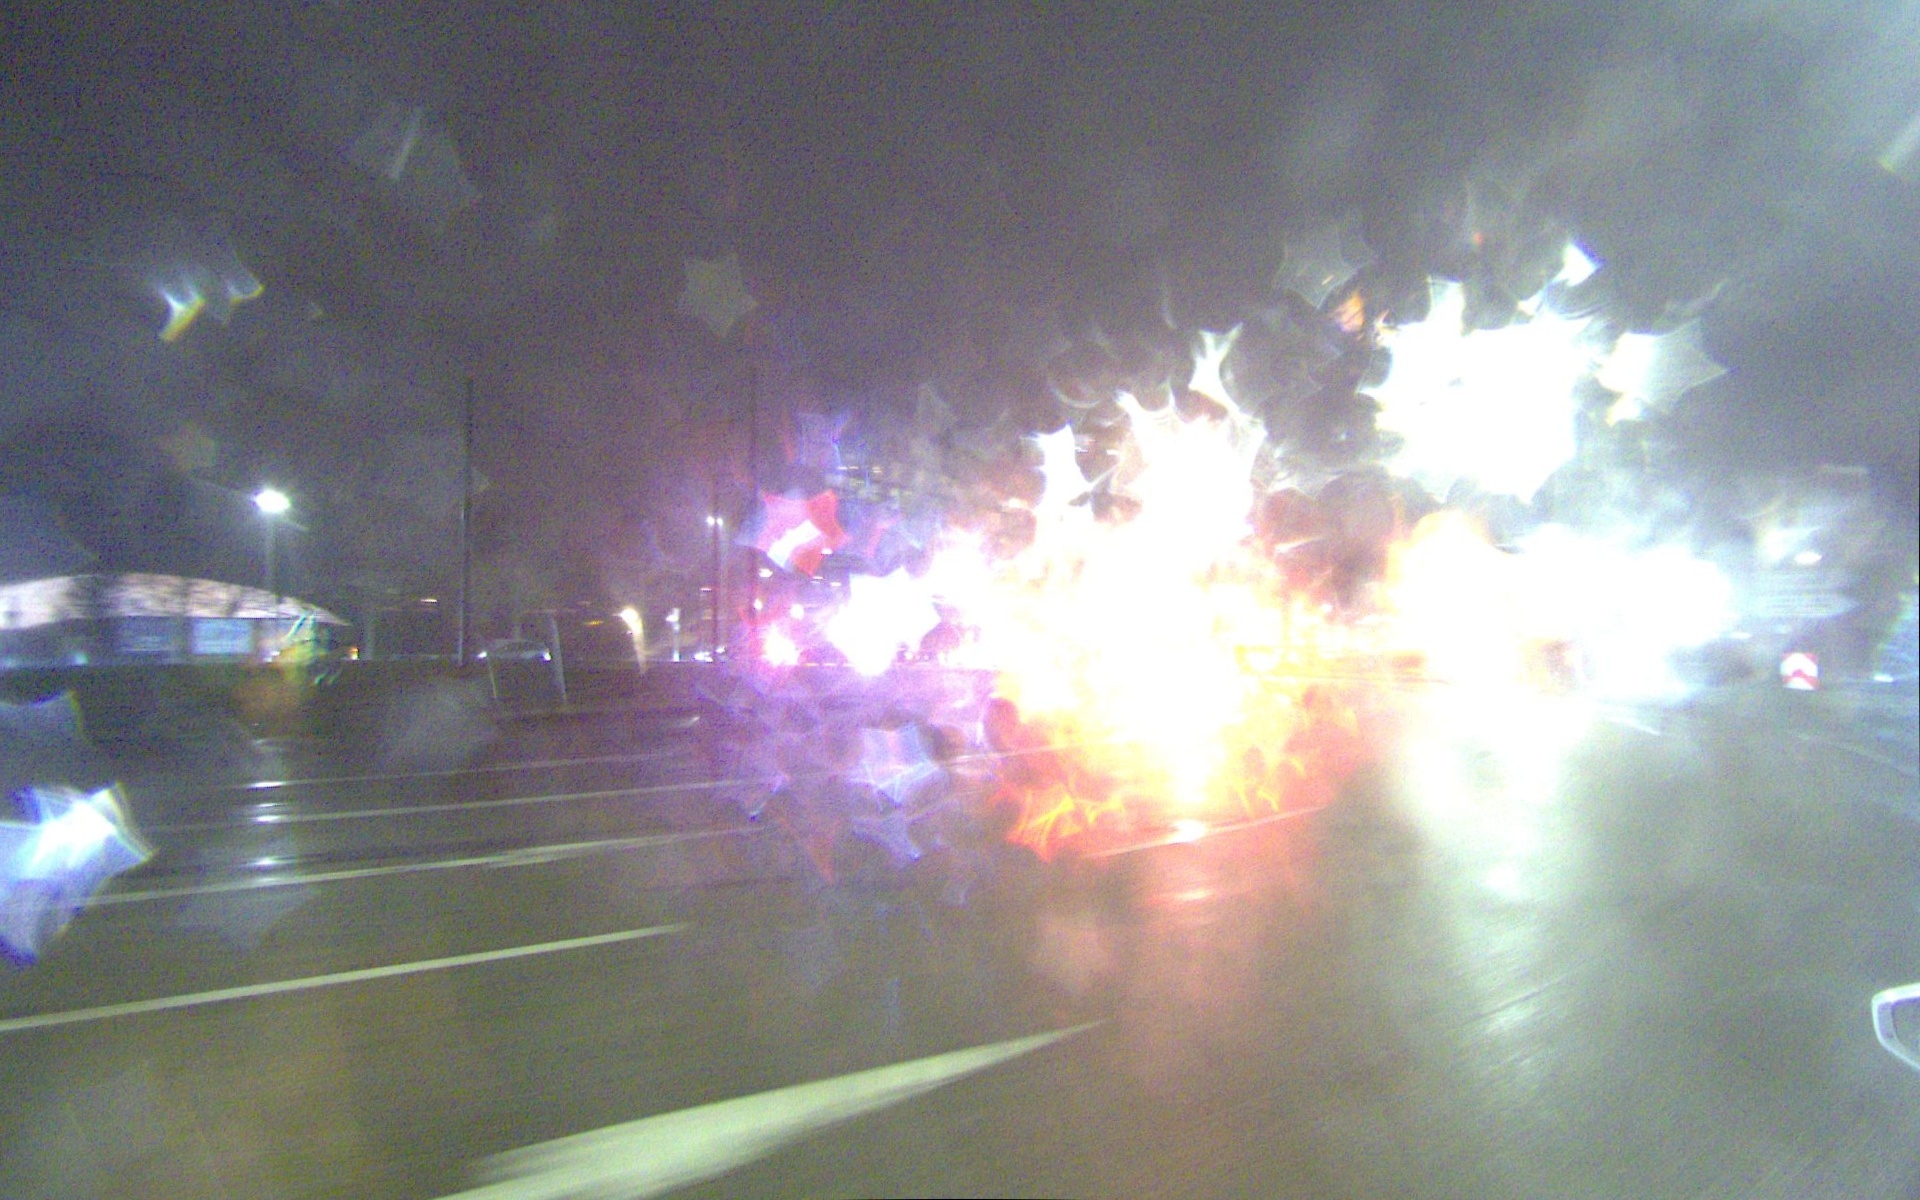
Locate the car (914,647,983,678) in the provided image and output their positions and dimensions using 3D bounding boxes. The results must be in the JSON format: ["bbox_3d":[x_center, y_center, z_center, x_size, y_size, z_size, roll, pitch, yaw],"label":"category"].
[{"bbox_3d":[-0.659,3.527,56.850,3.564,1.599,1.734,-1,-1,30],"label":"car"}]

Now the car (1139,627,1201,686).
[{"bbox_3d":[6.269,1.645,30.276,1.702,1.599,3.967,0,-1,10],"label":"car"}]

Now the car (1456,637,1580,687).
[{"bbox_3d":[20.047,2.186,36.265,3.819,1.661,1.862,-1,-1,27],"label":"car"}]

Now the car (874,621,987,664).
[{"bbox_3d":[-1.641,2.204,53.260,2.498,2.117,6.233,1,-1,-43],"label":"car"}]

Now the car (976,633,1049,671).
[{"bbox_3d":[2.433,2.441,47.741,1.812,1.637,3.974,0,-1,-26],"label":"car"}]

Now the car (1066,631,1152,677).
[{"bbox_3d":[5.546,1.982,37.802,1.845,1.599,3.954,0,-1,-14],"label":"car"}]

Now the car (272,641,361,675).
[{"bbox_3d":[-33.690,2.988,52.603,3.836,1.639,1.755,1,-1,-36],"label":"car"}]

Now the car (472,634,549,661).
[{"bbox_3d":[-26.347,2.772,58.835,3.971,1.463,1.818,1,-1,-30],"label":"car"}]

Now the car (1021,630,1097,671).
[{"bbox_3d":[4.138,2.113,42.609,1.711,1.599,3.947,0,-1,-20],"label":"car"}]

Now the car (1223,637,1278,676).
[{"bbox_3d":[13.249,2.542,46.025,1.564,1.605,4.002,0,-1,3],"label":"car"}]

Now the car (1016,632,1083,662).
[{"bbox_3d":[4.755,2.503,54.008,1.746,1.506,3.972,0,-1,-27],"label":"car"}]
